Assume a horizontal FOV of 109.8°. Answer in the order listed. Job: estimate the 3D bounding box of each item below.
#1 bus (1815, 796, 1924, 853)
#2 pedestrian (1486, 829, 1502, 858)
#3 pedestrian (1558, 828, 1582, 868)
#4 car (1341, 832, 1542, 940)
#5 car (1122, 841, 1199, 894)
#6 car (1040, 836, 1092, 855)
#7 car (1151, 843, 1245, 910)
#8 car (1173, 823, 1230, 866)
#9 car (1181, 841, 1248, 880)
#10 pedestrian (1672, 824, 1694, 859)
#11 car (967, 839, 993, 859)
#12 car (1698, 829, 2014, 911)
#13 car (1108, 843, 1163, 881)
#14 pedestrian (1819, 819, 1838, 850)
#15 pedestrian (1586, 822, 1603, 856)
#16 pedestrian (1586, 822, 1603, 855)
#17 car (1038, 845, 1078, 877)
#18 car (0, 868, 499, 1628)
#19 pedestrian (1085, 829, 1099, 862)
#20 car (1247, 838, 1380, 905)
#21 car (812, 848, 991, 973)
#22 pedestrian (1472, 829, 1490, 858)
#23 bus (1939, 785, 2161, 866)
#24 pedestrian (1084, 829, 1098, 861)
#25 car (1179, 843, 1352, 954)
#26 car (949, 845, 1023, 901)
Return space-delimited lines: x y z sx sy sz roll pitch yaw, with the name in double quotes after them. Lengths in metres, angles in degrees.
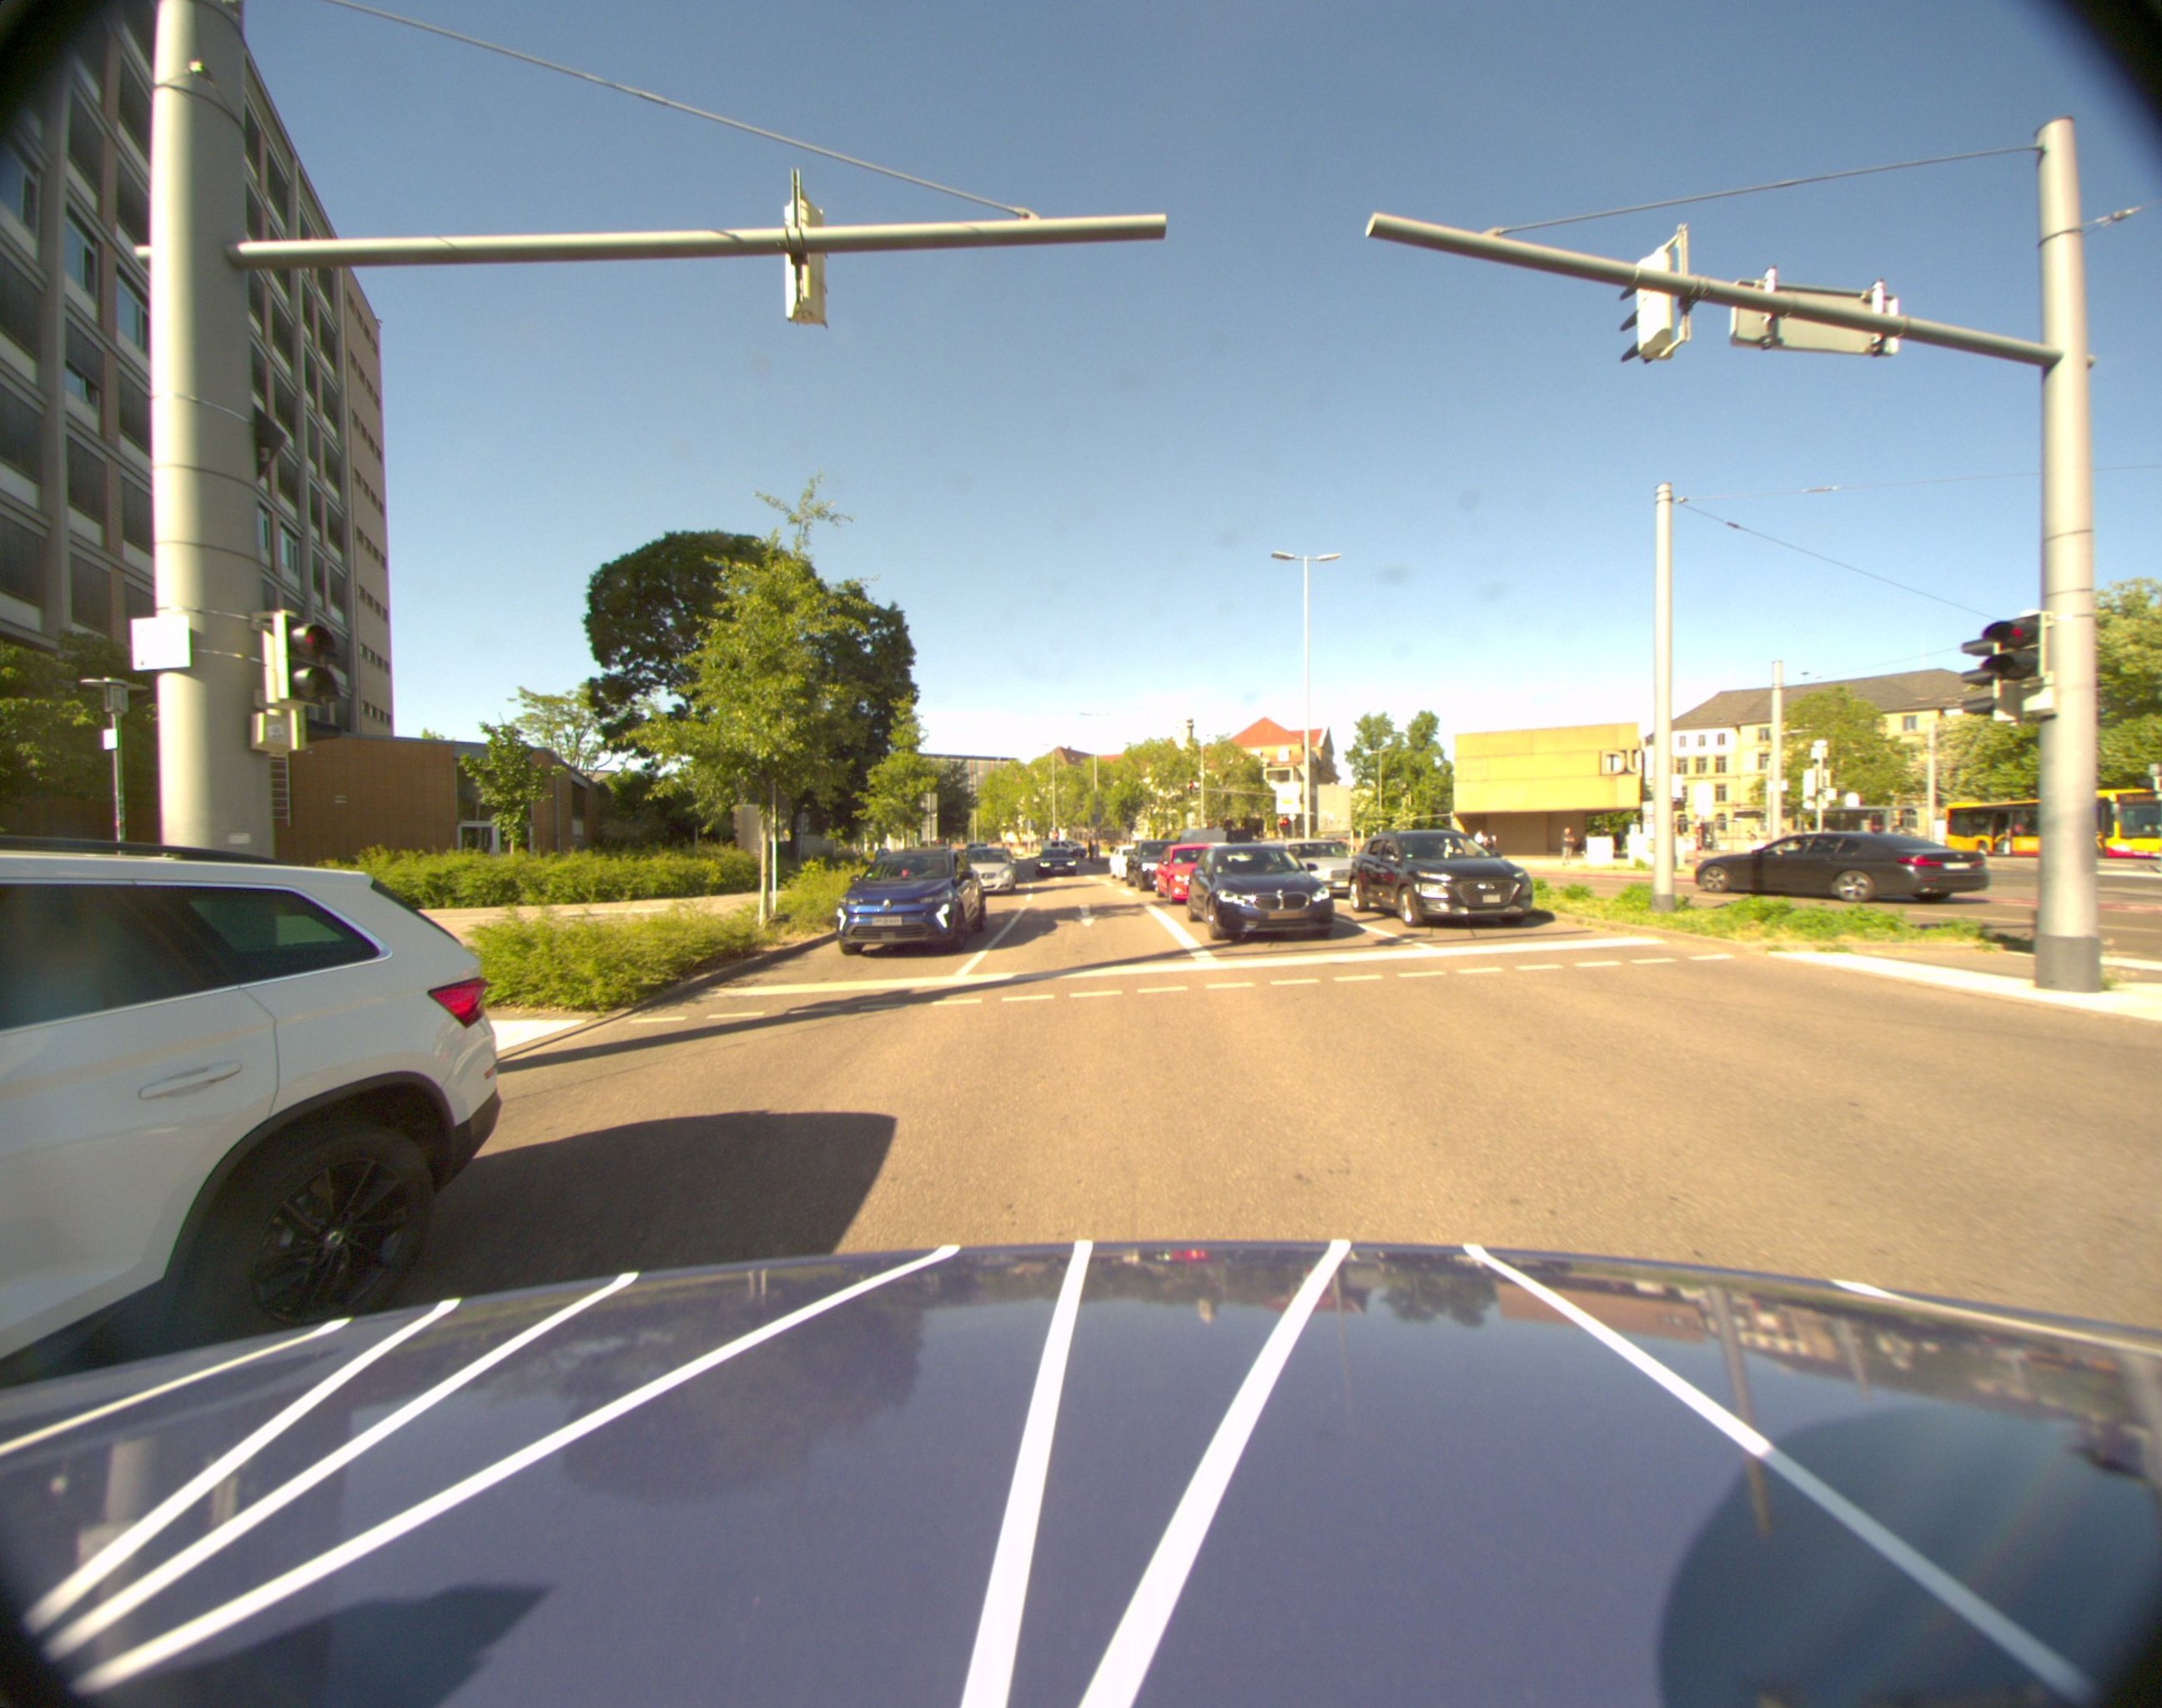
47.276 -1.698 45.849 2.136 3.028 8.573 -2 0 29 "bus"
24.124 -0.610 44.379 0.643 1.702 0.703 -1 2 41 "pedestrian"
22.833 -0.299 35.480 0.857 1.819 0.703 -1 2 35 "pedestrian"
5.988 0.435 13.174 1.686 1.523 3.914 -3 1 2 "car"
2.505 0.388 25.022 1.760 1.526 4.119 -3 1 -4 "car"
-1.602 -0.879 79.036 5.222 1.793 2.414 -1 2 44 "car"
2.878 0.493 19.461 1.713 1.450 4.011 -3 1 0 "car"
8.114 -0.667 51.773 2.244 2.665 5.301 -3 1 -9 "car"
5.558 0.202 32.272 1.824 1.450 4.659 -3 1 -2 "car"
33.185 -0.709 41.877 0.857 1.870 0.694 -1 2 35 "pedestrian"
-8.173 -0.445 61.771 1.922 1.450 4.665 -3 1 -7 "car"
16.285 0.262 16.413 1.887 1.450 4.642 -2 1 -5 "car"
2.289 0.300 32.818 1.760 1.447 4.119 -3 1 -4 "car"
46.207 -1.190 46.975 0.689 1.851 0.730 -2 2 31 "pedestrian"
32.625 -0.957 48.263 0.857 2.064 0.611 -1 2 35 "pedestrian"
33.282 -0.990 49.226 0.857 2.064 0.611 -1 2 35 "pedestrian"
-1.223 0.327 39.223 1.921 1.450 3.864 -3 1 -3 "car"
-3.386 0.955 0.878 1.868 1.635 4.396 -3 1 2 "car"
0.816 -0.658 57.813 0.875 2.406 0.889 -3 2 -6 "pedestrian"
5.801 0.356 19.633 1.824 1.450 4.659 -3 1 -2 "car"
-2.727 0.767 12.532 1.886 1.621 4.012 -3 1 1 "car"
23.867 -0.615 45.317 0.748 1.702 0.703 -1 2 41 "pedestrian"
45.085 -1.478 35.169 2.843 3.104 11.835 -2 3 26 "bus"
0.802 -0.683 58.871 0.875 2.421 0.889 -3 2 -6 "pedestrian"
2.832 0.596 12.600 1.886 1.450 4.012 -3 1 1 "car"
-3.098 0.558 25.555 1.886 1.621 4.012 -3 1 1 "car"
